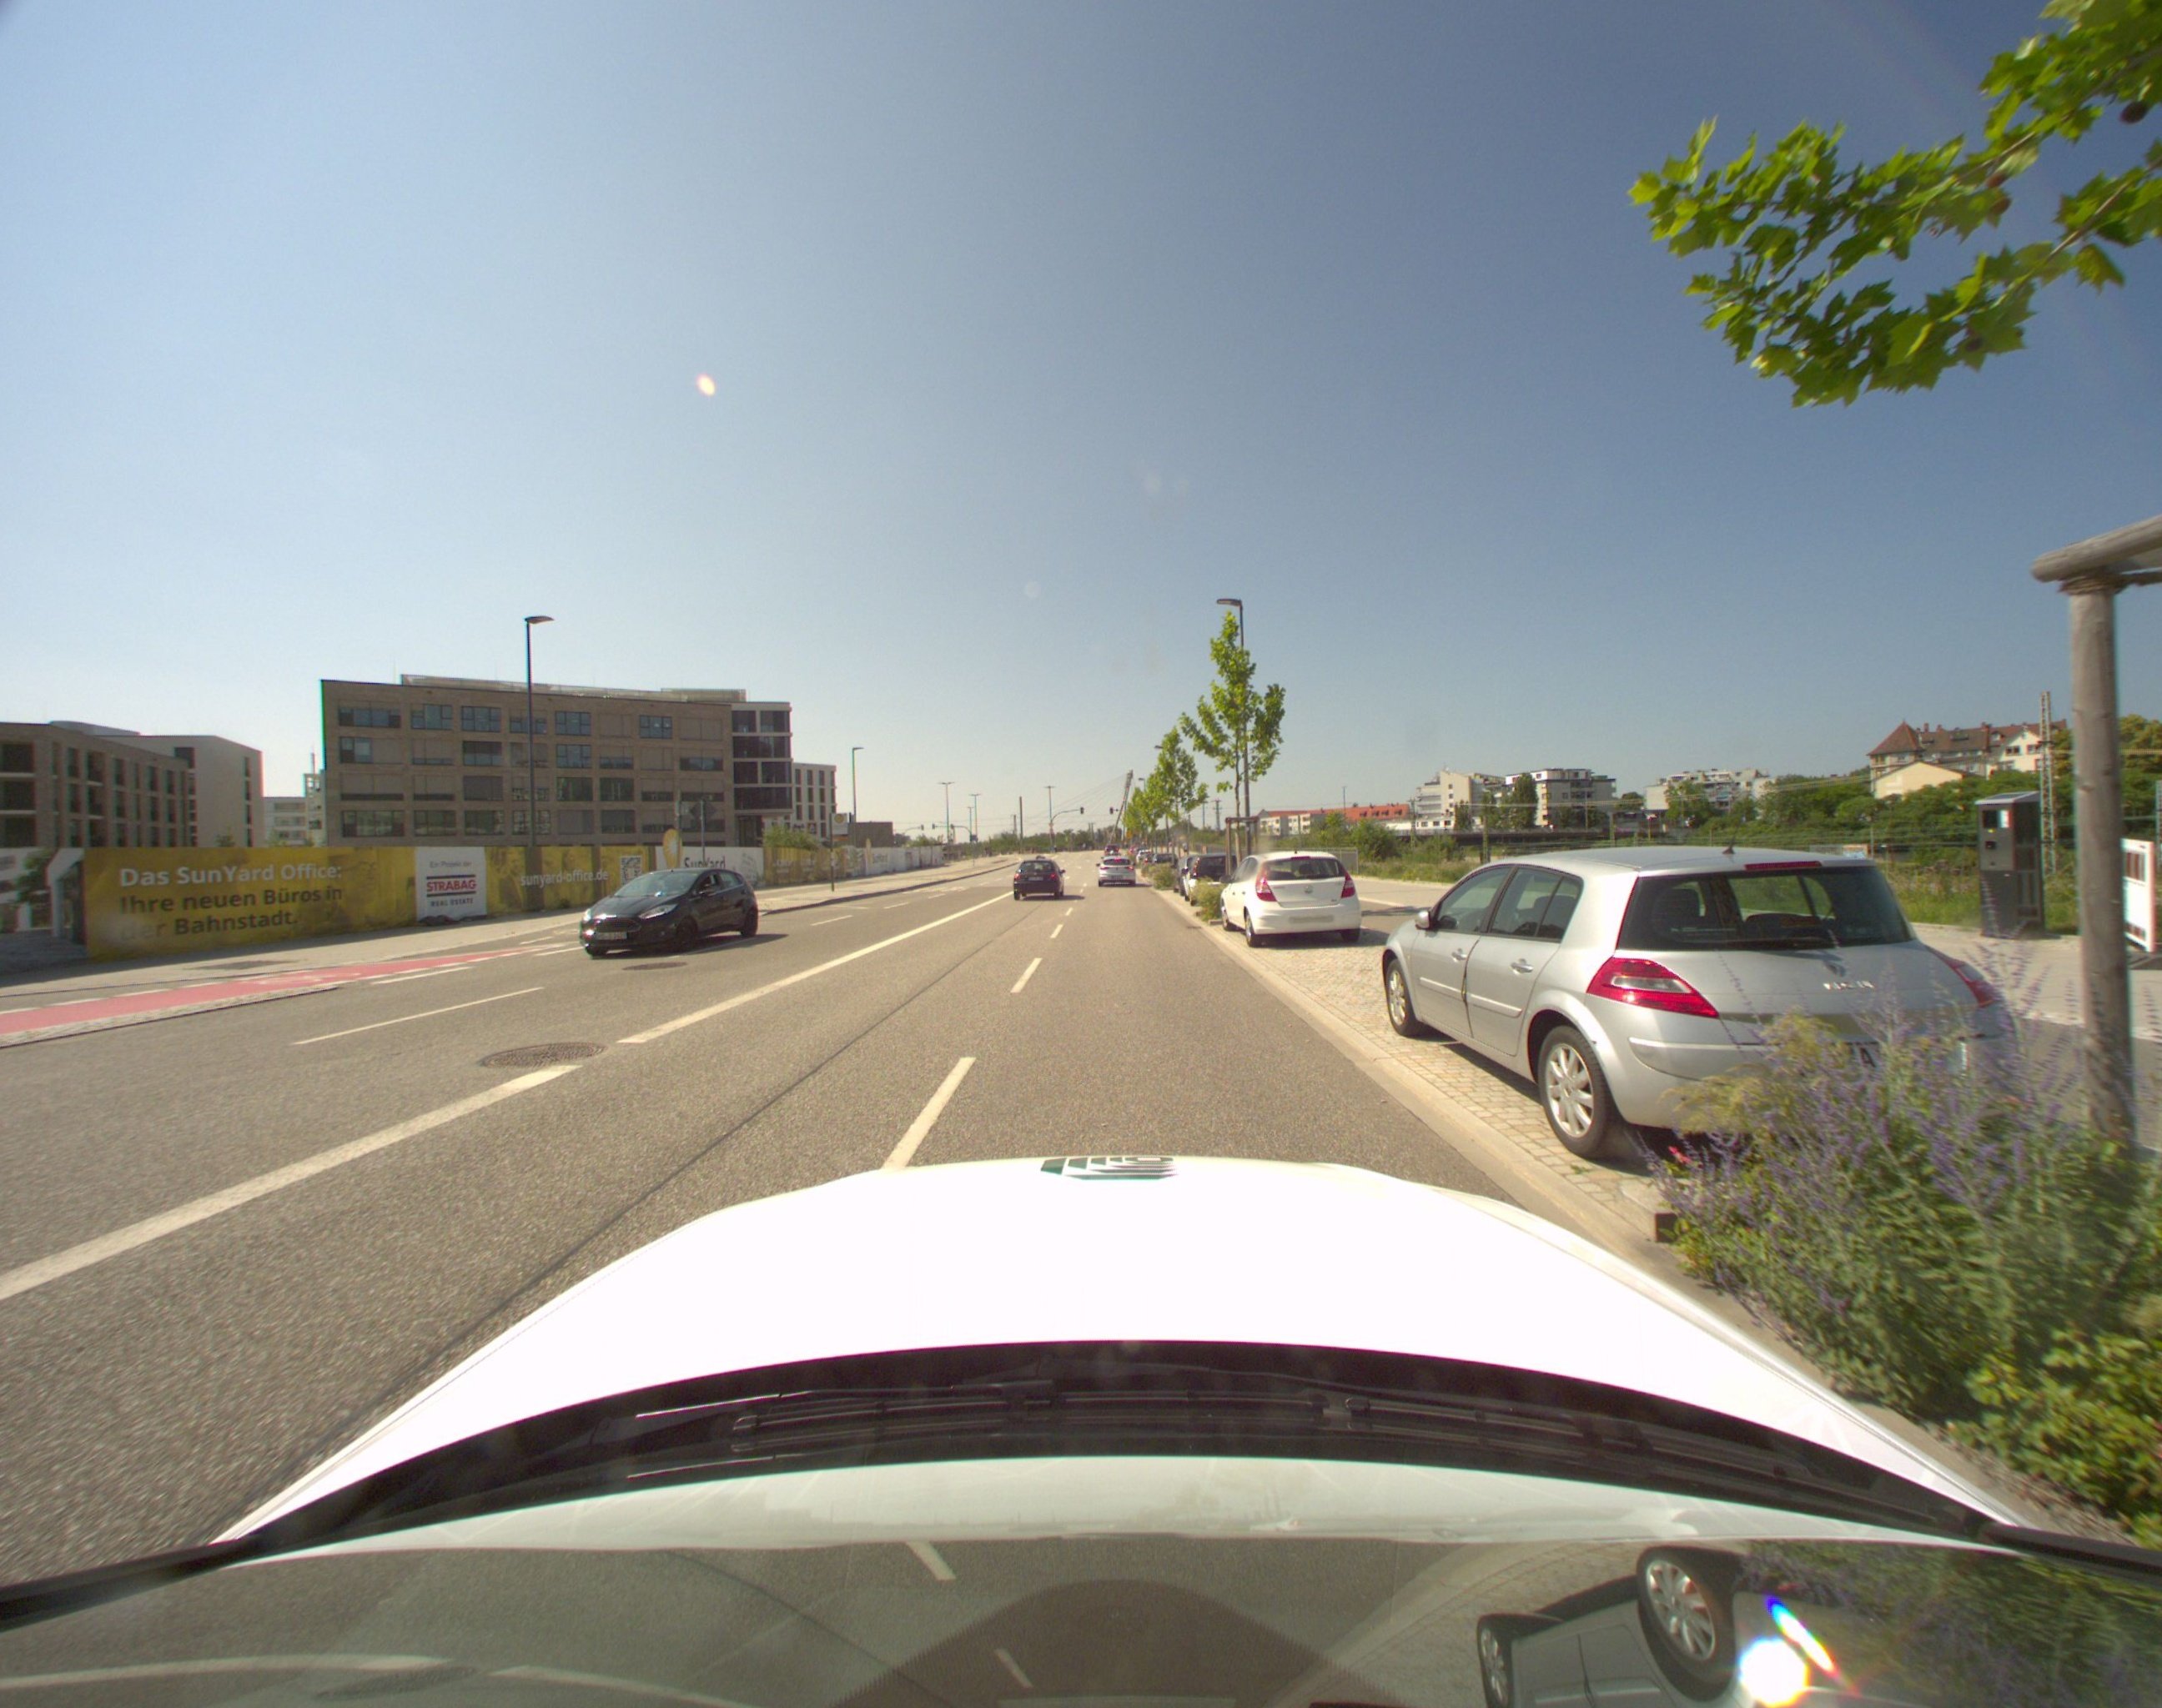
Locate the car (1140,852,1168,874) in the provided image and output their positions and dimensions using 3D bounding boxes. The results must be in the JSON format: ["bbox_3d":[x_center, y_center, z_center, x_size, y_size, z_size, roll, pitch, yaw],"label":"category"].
[{"bbox_3d":[5.021,0.608,56.445,1.697,1.401,4.273,-3,-1,3],"label":"car"}]

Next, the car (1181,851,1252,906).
[{"bbox_3d":[4.027,0.680,24.834,1.696,1.462,4.089,-3,0,4],"label":"car"}]

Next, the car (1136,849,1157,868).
[{"bbox_3d":[5.761,0.362,72.031,1.689,1.475,4.208,-3,0,3],"label":"car"}]

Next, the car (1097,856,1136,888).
[{"bbox_3d":[1.739,0.841,39.799,1.771,1.442,4.003,-1,0,3],"label":"car"}]

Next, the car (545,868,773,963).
[{"bbox_3d":[-7.426,1.001,14.929,1.697,1.352,4.458,-2,0,2],"label":"car"}]

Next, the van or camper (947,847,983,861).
[{"bbox_3d":[-16.292,0.001,114.200,1.975,1.897,4.745,-1,-2,45],"label":"van or camper"}]

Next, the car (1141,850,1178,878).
[{"bbox_3d":[4.475,0.566,47.081,1.699,1.463,3.953,-3,-1,0],"label":"car"}]

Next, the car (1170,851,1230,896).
[{"bbox_3d":[4.344,0.668,30.280,1.698,1.462,3.956,-3,0,2],"label":"car"}]

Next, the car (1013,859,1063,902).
[{"bbox_3d":[-1.526,0.932,29.889,1.614,1.416,3.726,-2,0,0],"label":"car"}]

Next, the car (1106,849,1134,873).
[{"bbox_3d":[2.708,0.487,57.253,1.772,1.569,3.999,-2,0,0],"label":"car"}]

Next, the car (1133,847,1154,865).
[{"bbox_3d":[6.002,0.195,78.691,1.814,1.616,3.615,-3,1,3],"label":"car"}]

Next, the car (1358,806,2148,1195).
[{"bbox_3d":[3.326,0.587,5.291,1.899,1.479,4.163,-2,0,5],"label":"car"}]

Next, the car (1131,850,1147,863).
[{"bbox_3d":[6.864,0.267,96.766,1.771,1.503,4.003,-3,0,2],"label":"car"}]

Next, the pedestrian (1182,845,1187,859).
[{"bbox_3d":[11.433,-0.236,90.153,0.531,1.575,0.524,0,-1,2],"label":"pedestrian"}]

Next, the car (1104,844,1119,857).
[{"bbox_3d":[3.917,-0.444,103.977,1.771,1.568,4.003,-2,1,2],"label":"car"}]

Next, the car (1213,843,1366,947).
[{"bbox_3d":[3.482,0.625,14.342,1.739,1.509,4.003,-2,0,2],"label":"car"}]
